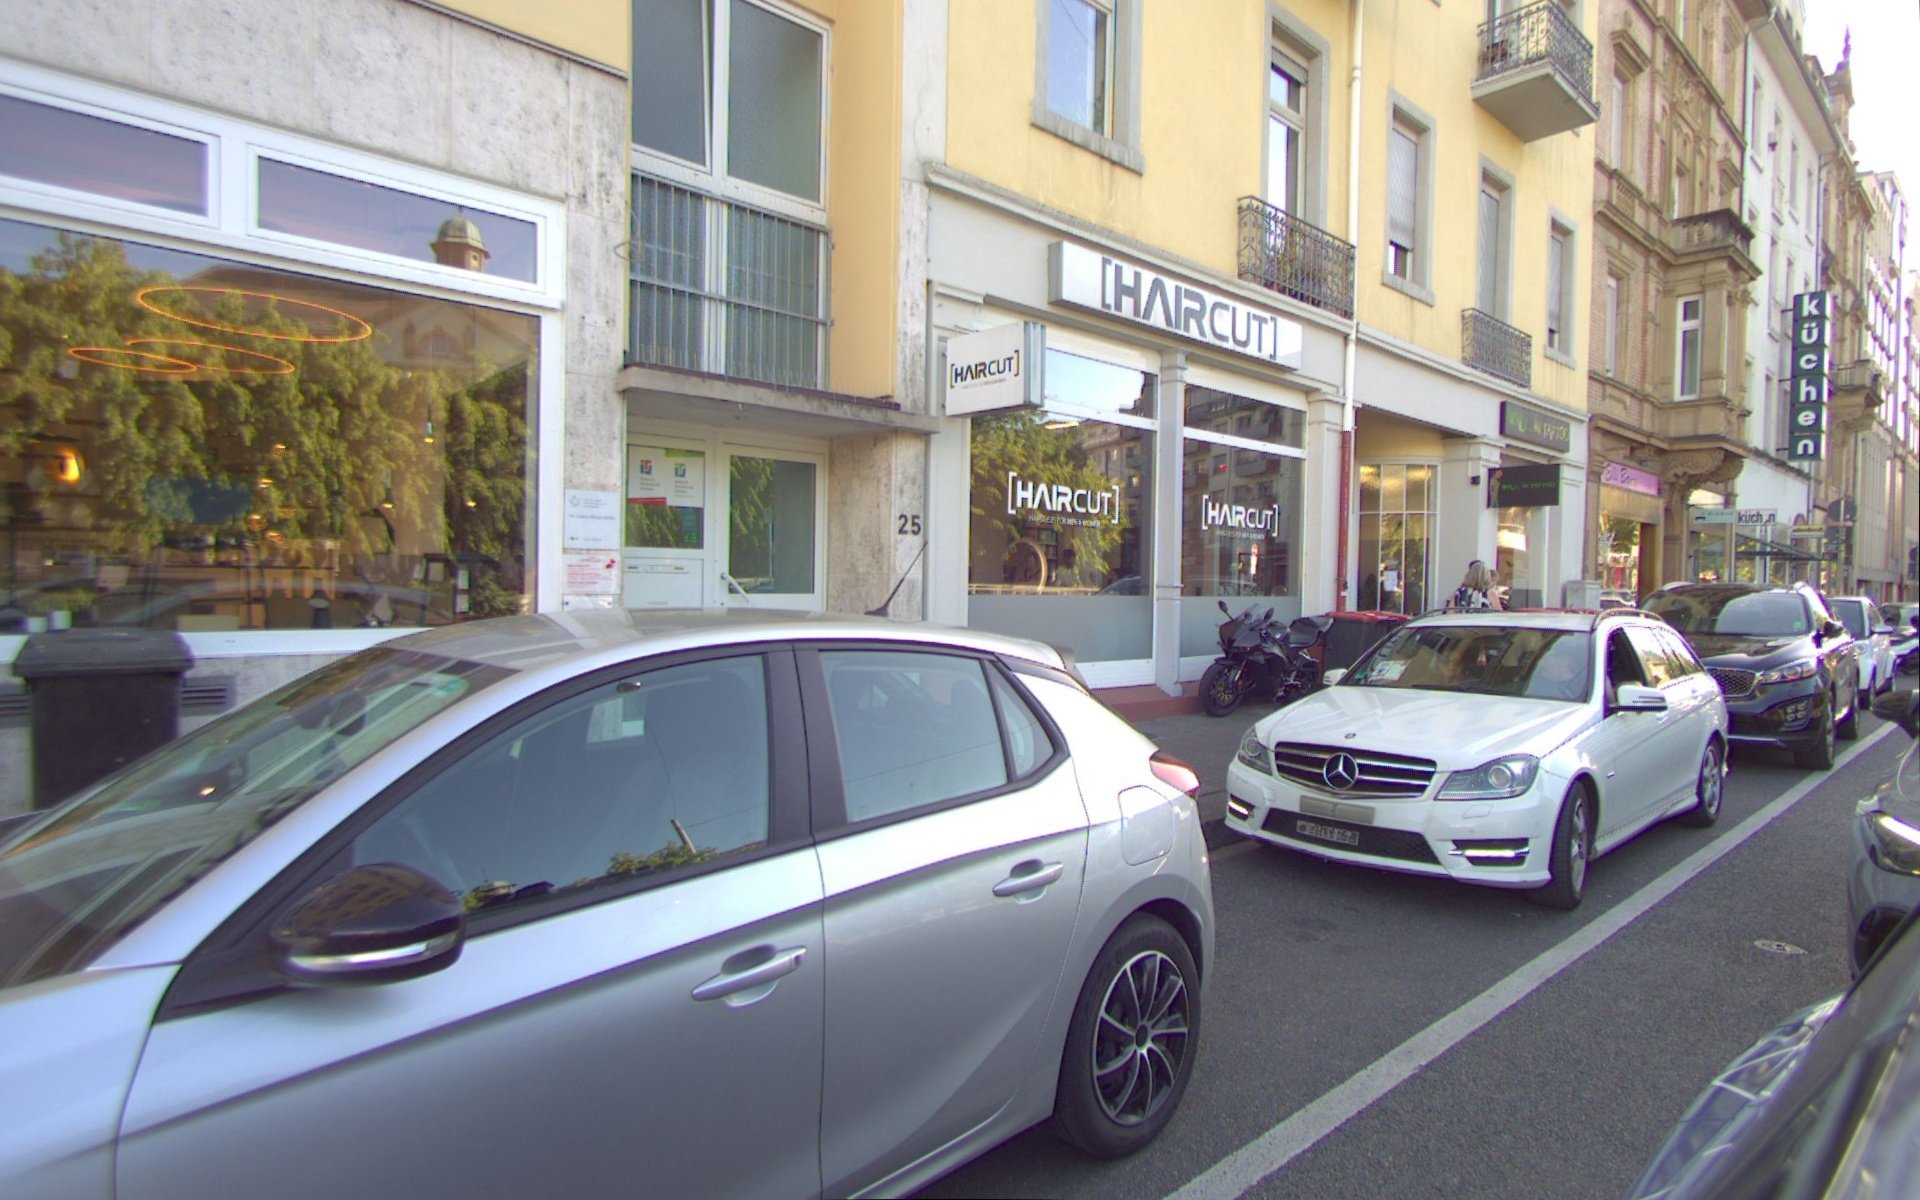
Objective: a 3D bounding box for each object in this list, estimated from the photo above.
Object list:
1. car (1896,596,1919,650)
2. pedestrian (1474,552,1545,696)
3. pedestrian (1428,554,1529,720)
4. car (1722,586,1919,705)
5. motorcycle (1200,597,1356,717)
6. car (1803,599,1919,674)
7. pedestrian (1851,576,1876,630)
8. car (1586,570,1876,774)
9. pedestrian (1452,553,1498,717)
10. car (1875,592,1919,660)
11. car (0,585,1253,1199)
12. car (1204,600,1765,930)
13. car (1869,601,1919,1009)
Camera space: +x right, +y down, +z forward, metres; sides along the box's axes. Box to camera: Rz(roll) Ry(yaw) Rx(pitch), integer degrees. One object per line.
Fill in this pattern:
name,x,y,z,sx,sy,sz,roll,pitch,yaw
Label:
car,26.605,0.590,27.226,3.773,1.357,1.800,-1,1,-42
pedestrian,7.377,0.310,13.593,0.565,1.874,0.664,0,0,-39
pedestrian,5.518,0.362,10.785,0.595,1.674,0.719,0,3,-40
car,13.085,0.572,15.288,4.016,1.546,1.800,-1,0,-42
motorcycle,3.306,0.538,10.435,1.920,1.091,0.567,-1,4,-41
car,18.044,0.653,19.843,4.016,1.282,1.800,-1,1,-42
pedestrian,31.391,0.095,35.157,0.653,1.874,0.574,0,0,-40
car,8.011,0.558,10.361,4.176,1.659,1.799,-1,1,-45
pedestrian,6.519,0.418,12.804,0.372,2.008,0.685,1,1,36
car,22.261,0.541,23.105,4.016,1.450,1.657,-1,0,-42
car,-0.997,0.691,2.285,3.597,1.445,1.549,-1,1,-42
car,3.543,0.711,6.431,4.302,1.376,1.703,-1,1,-41
car,5.254,0.698,4.230,3.932,1.376,1.800,-1,1,-42
